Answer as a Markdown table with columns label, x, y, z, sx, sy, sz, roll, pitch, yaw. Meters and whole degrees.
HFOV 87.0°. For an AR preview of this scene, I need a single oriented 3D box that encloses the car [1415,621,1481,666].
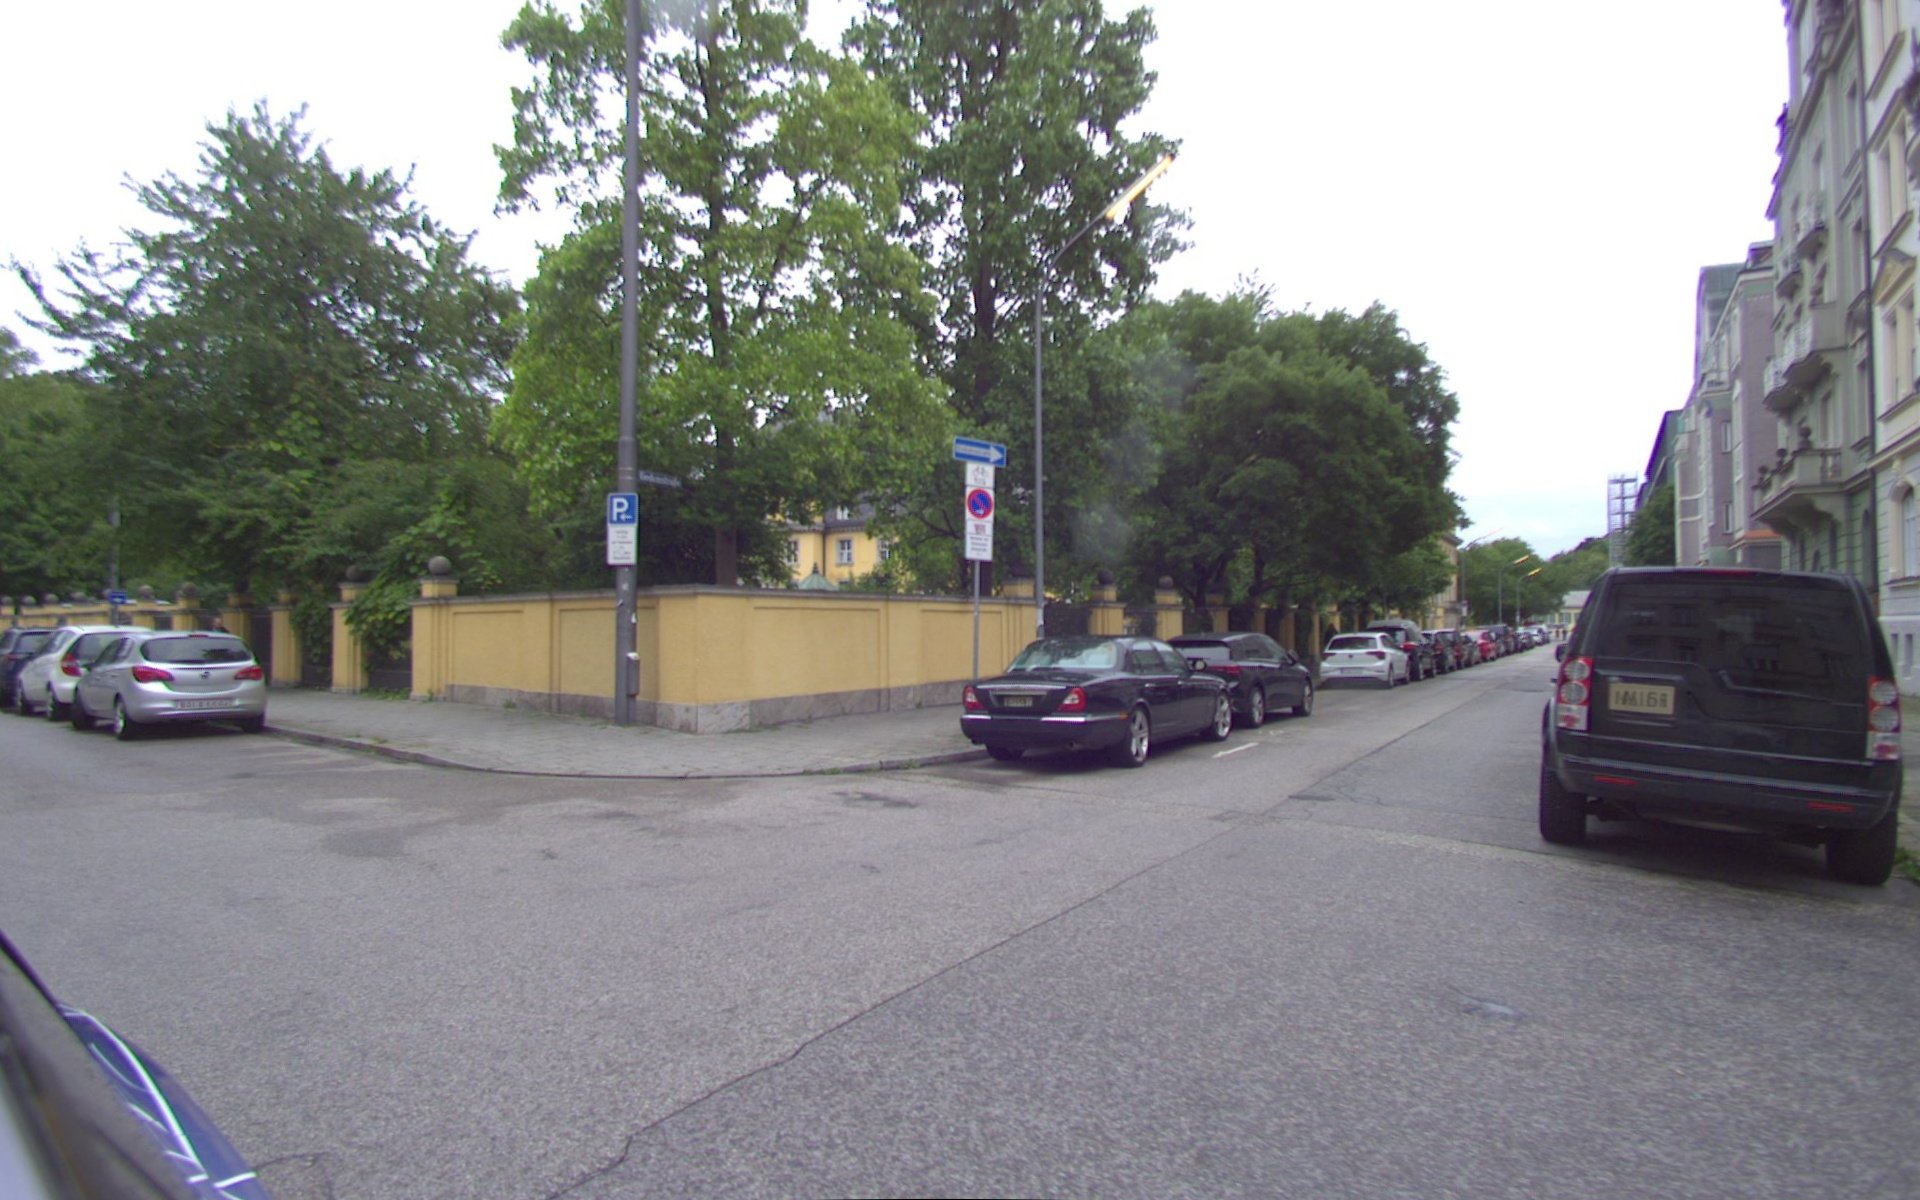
| label | x | y | z | sx | sy | sz | roll | pitch | yaw |
| --- | --- | --- | --- | --- | --- | --- | --- | --- | --- |
| car | 19.280 | 1.693 | 39.921 | 1.820 | 1.681 | 3.955 | -2 | -2 | 33 |

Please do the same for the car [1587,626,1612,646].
| label | x | y | z | sx | sy | sz | roll | pitch | yaw |
| --- | --- | --- | --- | --- | --- | --- | --- | --- | --- |
| car | 66.640 | 3.748 | 105.502 | 1.992 | 2.029 | 3.960 | -2 | -2 | 29 |

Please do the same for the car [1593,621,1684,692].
| label | x | y | z | sx | sy | sz | roll | pitch | yaw |
| --- | --- | --- | --- | --- | --- | --- | --- | --- | --- |
| car | 19.654 | 1.562 | 29.415 | 2.049 | 1.872 | 4.469 | 0 | -2 | 33 |

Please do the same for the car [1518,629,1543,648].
| label | x | y | z | sx | sy | sz | roll | pitch | yaw |
| --- | --- | --- | --- | --- | --- | --- | --- | --- | --- |
| car | 51.020 | 3.437 | 90.472 | 1.751 | 1.697 | 3.956 | -2 | -2 | 32 |

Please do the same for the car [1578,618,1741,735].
| label | x | y | z | sx | sy | sz | roll | pitch | yaw |
| --- | --- | --- | --- | --- | --- | --- | --- | --- | --- |
| car | 11.384 | 1.143 | 16.620 | 1.929 | 1.577 | 4.383 | 2 | -1 | 33 |

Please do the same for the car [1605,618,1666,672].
| label | x | y | z | sx | sy | sz | roll | pitch | yaw |
| --- | --- | --- | --- | --- | --- | --- | --- | --- | --- |
| car | 27.014 | 1.767 | 40.503 | 1.878 | 2.029 | 3.954 | -2 | -2 | 34 |

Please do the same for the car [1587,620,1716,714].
| label | x | y | z | sx | sy | sz | roll | pitch | yaw |
| --- | --- | --- | --- | --- | --- | --- | --- | --- | --- |
| car | 13.836 | 1.259 | 20.375 | 1.929 | 1.607 | 4.193 | 2 | -1 | 33 |

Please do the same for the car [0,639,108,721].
| label | x | y | z | sx | sy | sz | roll | pitch | yaw |
| --- | --- | --- | --- | --- | --- | --- | --- | --- | --- |
| car | -19.470 | 1.623 | 21.291 | 3.926 | 1.573 | 1.633 | -2 | -4 | 39 |

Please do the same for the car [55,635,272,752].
| label | x | y | z | sx | sy | sz | roll | pitch | yaw |
| --- | --- | --- | --- | --- | --- | --- | --- | --- | --- |
| car | -11.896 | 1.309 | 15.038 | 3.951 | 1.504 | 1.683 | -2 | -4 | 39 |

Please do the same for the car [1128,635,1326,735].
| label | x | y | z | sx | sy | sz | roll | pitch | yaw |
| --- | --- | --- | --- | --- | --- | --- | --- | --- | --- |
| car | 4.524 | 1.303 | 16.715 | 1.849 | 1.395 | 4.190 | -2 | -3 | 35 |

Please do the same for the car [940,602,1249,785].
| label | x | y | z | sx | sy | sz | roll | pitch | yaw |
| --- | --- | --- | --- | --- | --- | --- | --- | --- | --- |
| car | 1.844 | 0.986 | 12.257 | 1.900 | 1.757 | 4.686 | -2 | -3 | 33 |

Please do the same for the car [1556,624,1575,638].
| label | x | y | z | sx | sy | sz | roll | pitch | yaw |
| --- | --- | --- | --- | --- | --- | --- | --- | --- | --- |
| car | 80.377 | 4.090 | 134.281 | 2.061 | 1.835 | 4.331 | -2 | -2 | 30 |

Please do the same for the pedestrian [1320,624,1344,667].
| label | x | y | z | sx | sy | sz | roll | pitch | yaw |
| --- | --- | --- | --- | --- | --- | --- | --- | --- | --- |
| pedestrian | 14.767 | 1.789 | 40.159 | 0.781 | 1.703 | 0.710 | -1 | -2 | 32 |

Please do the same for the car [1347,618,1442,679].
| label | x | y | z | sx | sy | sz | roll | pitch | yaw |
| --- | --- | --- | --- | --- | --- | --- | --- | --- | --- |
| car | 13.274 | 1.428 | 30.801 | 1.828 | 1.697 | 4.191 | -2 | -2 | 35 |

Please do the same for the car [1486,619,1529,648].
| label | x | y | z | sx | sy | sz | roll | pitch | yaw |
| --- | --- | --- | --- | --- | --- | --- | --- | --- | --- |
| car | 32.950 | 1.989 | 60.872 | 1.828 | 1.697 | 4.191 | -1 | -2 | 35 |

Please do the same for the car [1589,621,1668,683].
| label | x | y | z | sx | sy | sz | roll | pitch | yaw |
| --- | --- | --- | --- | --- | --- | --- | --- | --- | --- |
| car | 22.161 | 1.677 | 33.608 | 2.049 | 1.872 | 4.469 | 0 | -2 | 33 |

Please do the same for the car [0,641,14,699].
| label | x | y | z | sx | sy | sz | roll | pitch | yaw |
| --- | --- | --- | --- | --- | --- | --- | --- | --- | --- |
| car | -28.015 | 1.941 | 28.352 | 3.926 | 1.573 | 1.633 | -2 | -4 | 39 |

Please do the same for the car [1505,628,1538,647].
| label | x | y | z | sx | sy | sz | roll | pitch | yaw |
| --- | --- | --- | --- | --- | --- | --- | --- | --- | --- |
| car | 41.522 | 2.763 | 74.805 | 1.741 | 1.366 | 3.795 | -2 | -2 | 34 |

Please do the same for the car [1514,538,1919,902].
| label | x | y | z | sx | sy | sz | roll | pitch | yaw |
| --- | --- | --- | --- | --- | --- | --- | --- | --- | --- |
| car | 5.518 | 0.698 | 7.537 | 2.049 | 1.872 | 4.469 | -2 | -3 | 33 |

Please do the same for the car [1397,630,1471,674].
| label | x | y | z | sx | sy | sz | roll | pitch | yaw |
| --- | --- | --- | --- | --- | --- | --- | --- | --- | --- |
| car | 16.769 | 1.794 | 35.725 | 1.786 | 1.453 | 3.954 | -2 | -2 | 34 |

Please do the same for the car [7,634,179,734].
| label | x | y | z | sx | sy | sz | roll | pitch | yaw |
| --- | --- | --- | --- | --- | --- | --- | --- | --- | --- |
| car | -15.622 | 1.442 | 18.180 | 3.926 | 1.573 | 1.684 | -2 | -2 | 39 |

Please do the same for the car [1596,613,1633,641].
| label | x | y | z | sx | sy | sz | roll | pitch | yaw |
| --- | --- | --- | --- | --- | --- | --- | --- | --- | --- |
| car | 46.479 | 1.934 | 71.929 | 1.993 | 1.929 | 3.958 | -2 | -2 | 31 |

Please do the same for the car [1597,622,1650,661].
| label | x | y | z | sx | sy | sz | roll | pitch | yaw |
| --- | --- | --- | --- | --- | --- | --- | --- | --- | --- |
| car | 33.522 | 2.077 | 51.208 | 2.049 | 1.872 | 4.470 | -3 | -3 | 33 |

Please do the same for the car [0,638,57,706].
| label | x | y | z | sx | sy | sz | roll | pitch | yaw |
| --- | --- | --- | --- | --- | --- | --- | --- | --- | --- |
| car | -23.613 | 1.739 | 24.743 | 3.926 | 1.573 | 1.633 | -2 | -4 | 39 |

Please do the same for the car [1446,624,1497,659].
| label | x | y | z | sx | sy | sz | roll | pitch | yaw |
| --- | --- | --- | --- | --- | --- | --- | --- | --- | --- |
| car | 24.152 | 1.942 | 47.731 | 1.819 | 1.596 | 3.956 | -2 | -2 | 32 |

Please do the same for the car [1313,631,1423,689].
| label | x | y | z | sx | sy | sz | roll | pitch | yaw |
| --- | --- | --- | --- | --- | --- | --- | --- | --- | --- |
| car | 10.897 | 1.548 | 26.881 | 1.828 | 1.395 | 4.190 | -2 | -3 | 35 |

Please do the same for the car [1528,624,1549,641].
| label | x | y | z | sx | sy | sz | roll | pitch | yaw |
| --- | --- | --- | --- | --- | --- | --- | --- | --- | --- |
| car | 61.621 | 3.432 | 107.782 | 1.730 | 1.785 | 3.764 | -2 | -2 | 32 |

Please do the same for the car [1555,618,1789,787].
| label | x | y | z | sx | sy | sz | roll | pitch | yaw |
| --- | --- | --- | --- | --- | --- | --- | --- | --- | --- |
| car | 8.366 | 1.050 | 12.108 | 1.929 | 1.578 | 4.469 | 1 | -1 | 33 |

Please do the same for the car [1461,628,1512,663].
| label | x | y | z | sx | sy | sz | roll | pitch | yaw |
| --- | --- | --- | --- | --- | --- | --- | --- | --- | --- |
| car | 27.325 | 2.306 | 52.442 | 1.828 | 1.697 | 4.191 | -1 | -2 | 35 |
